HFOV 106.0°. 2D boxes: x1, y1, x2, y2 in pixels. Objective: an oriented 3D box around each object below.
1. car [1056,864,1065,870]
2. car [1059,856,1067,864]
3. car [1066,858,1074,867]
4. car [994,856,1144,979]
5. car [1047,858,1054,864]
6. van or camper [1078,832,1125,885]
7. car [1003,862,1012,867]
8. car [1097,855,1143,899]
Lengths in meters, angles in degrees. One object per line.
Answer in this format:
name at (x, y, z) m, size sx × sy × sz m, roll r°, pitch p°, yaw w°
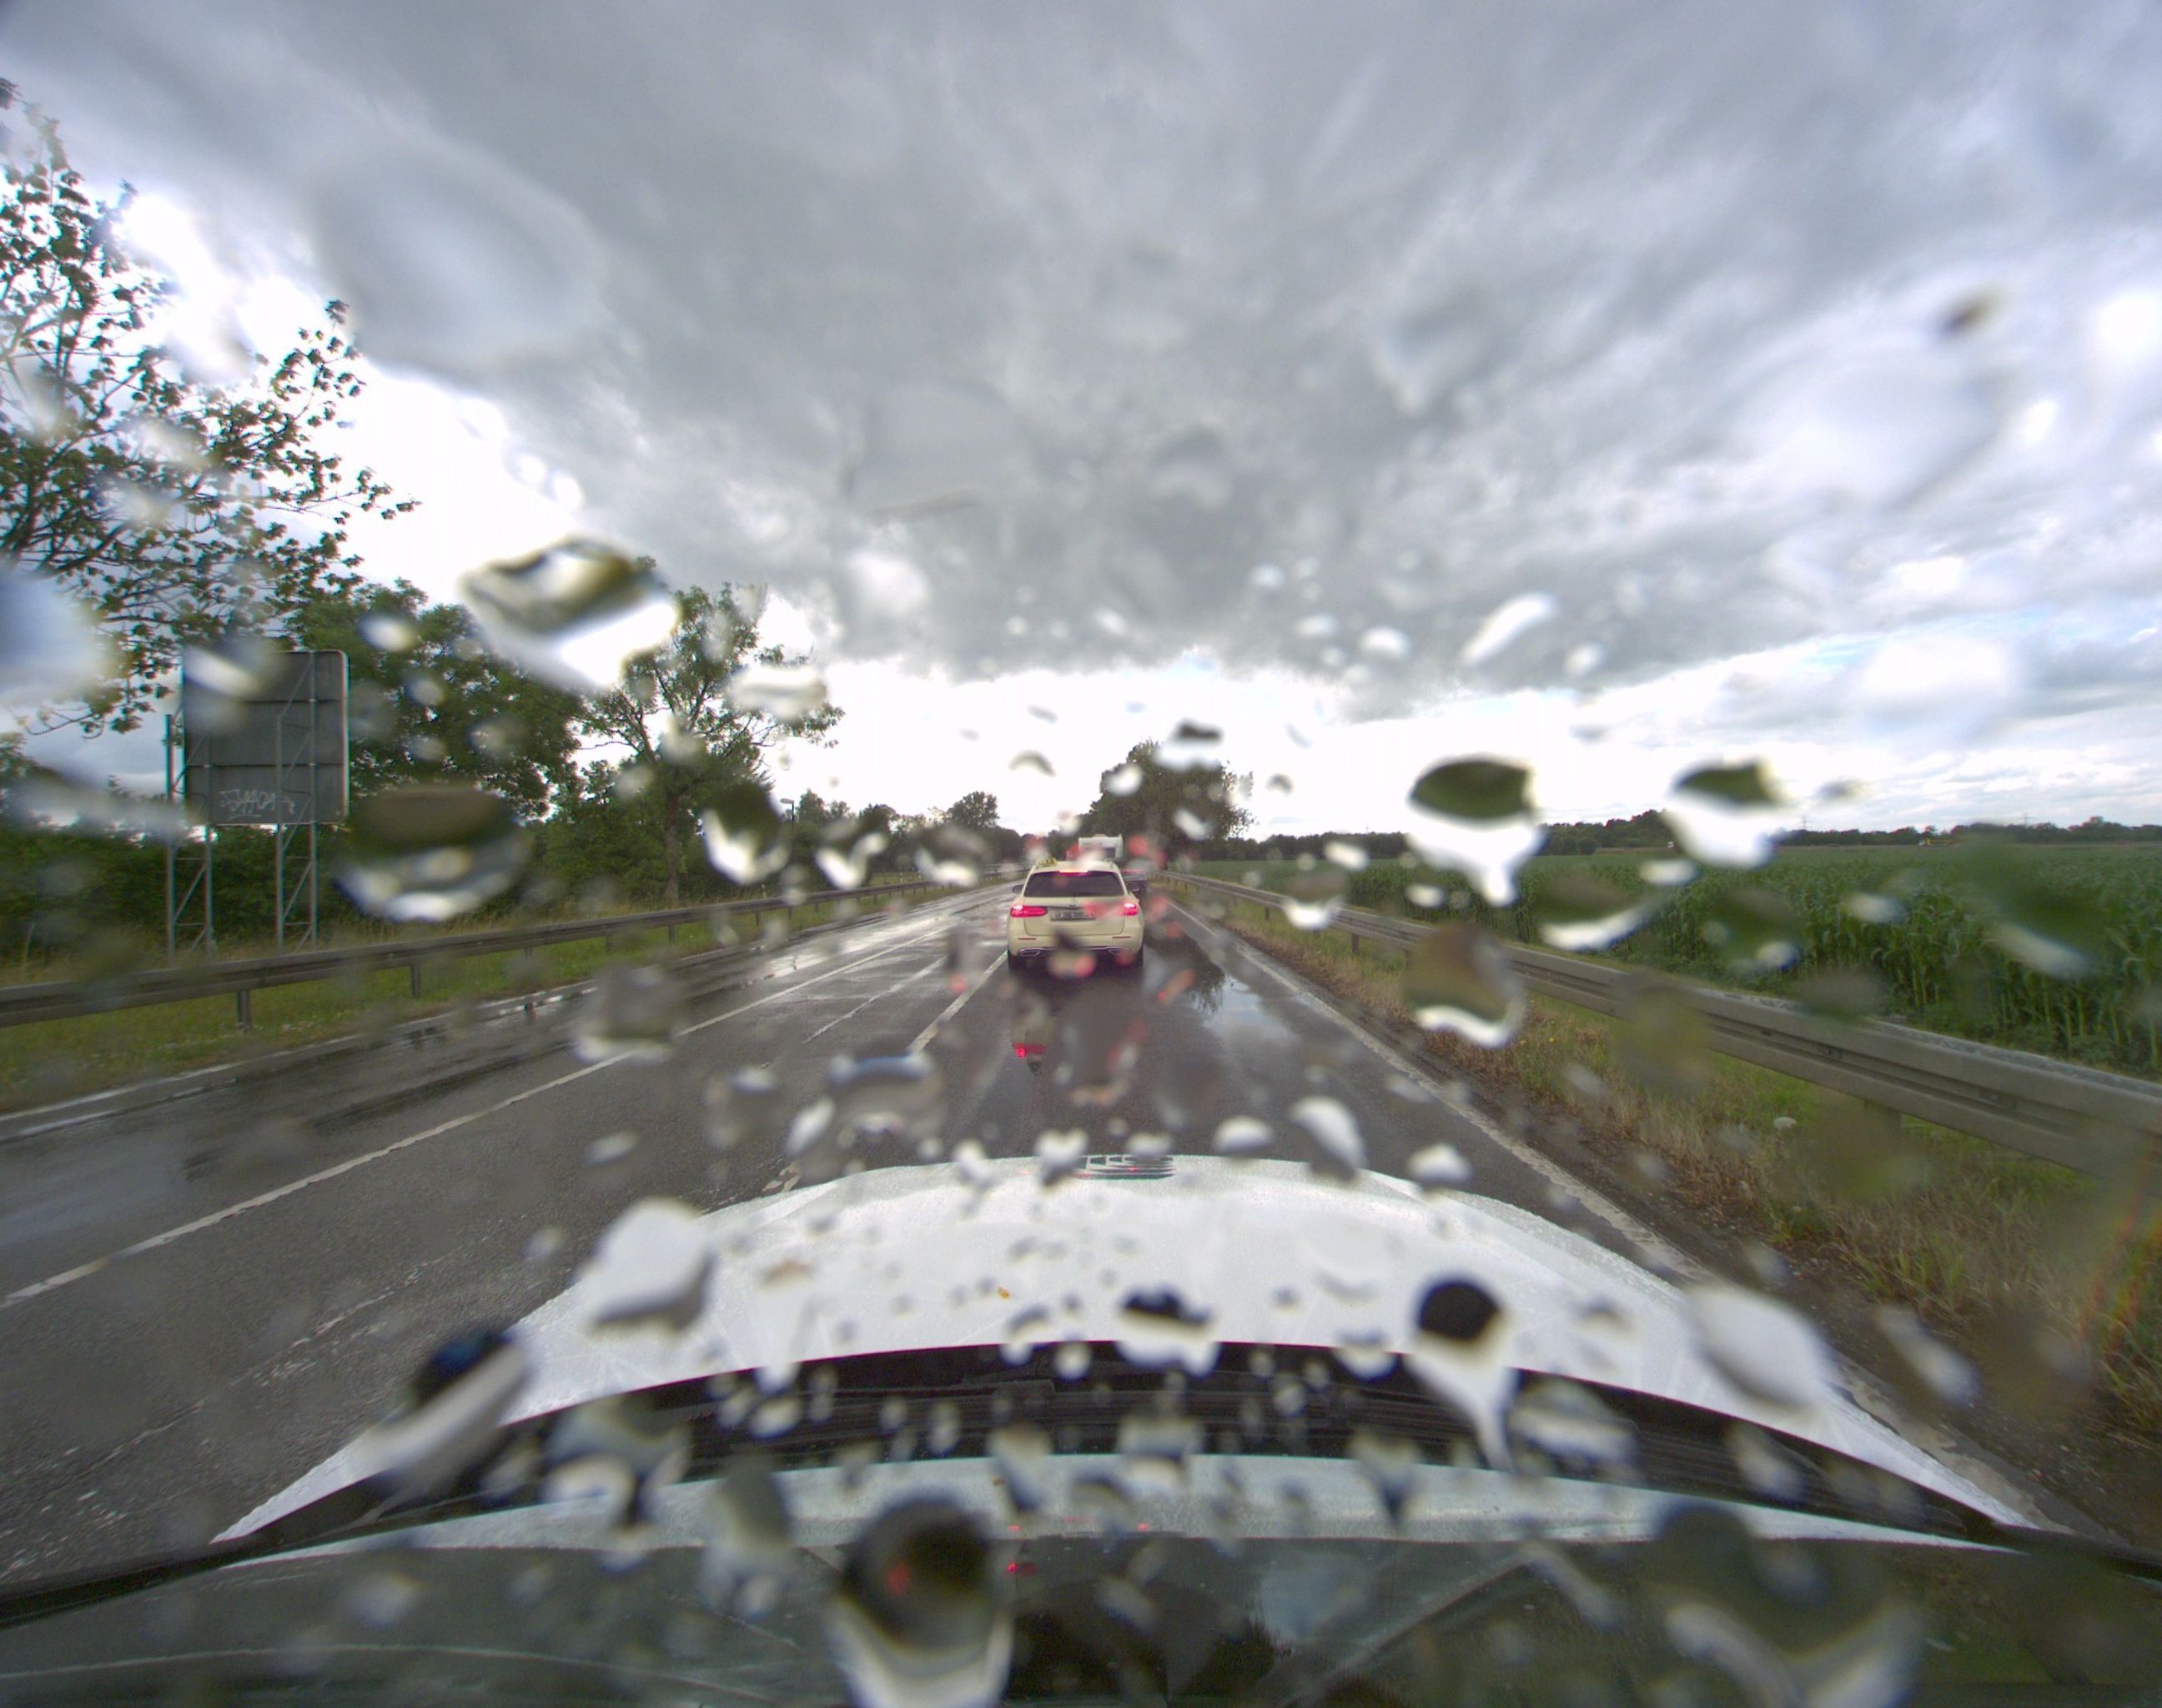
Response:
car at (-4.638, 2.804, 181.511) m, size 1.752 × 1.269 × 4.002 m, roll -1°, pitch 0°, yaw 2°
car at (-4.851, 1.570, 215.414) m, size 1.987 × 2.014 × 3.999 m, roll -1°, pitch 0°, yaw 0°
car at (-2.696, 2.112, 201.750) m, size 1.988 × 2.051 × 3.997 m, roll -1°, pitch 0°, yaw -1°
car at (-0.028, 0.795, 12.073) m, size 1.817 × 1.485 × 4.148 m, roll -1°, pitch 0°, yaw 3°
car at (-9.744, 2.250, 258.912) m, size 1.989 × 2.013 × 3.995 m, roll -1°, pitch 0°, yaw -3°
van or camper at (1.139, 0.219, 44.379) m, size 2.341 × 2.680 × 5.771 m, roll -1°, pitch 0°, yaw 2°
car at (-22.557, 3.238, 249.215) m, size 1.985 × 1.651 × 4.003 m, roll -1°, pitch 0°, yaw 3°
car at (1.459, 0.812, 30.863) m, size 1.621 × 1.529 × 3.934 m, roll -1°, pitch 0°, yaw 2°
